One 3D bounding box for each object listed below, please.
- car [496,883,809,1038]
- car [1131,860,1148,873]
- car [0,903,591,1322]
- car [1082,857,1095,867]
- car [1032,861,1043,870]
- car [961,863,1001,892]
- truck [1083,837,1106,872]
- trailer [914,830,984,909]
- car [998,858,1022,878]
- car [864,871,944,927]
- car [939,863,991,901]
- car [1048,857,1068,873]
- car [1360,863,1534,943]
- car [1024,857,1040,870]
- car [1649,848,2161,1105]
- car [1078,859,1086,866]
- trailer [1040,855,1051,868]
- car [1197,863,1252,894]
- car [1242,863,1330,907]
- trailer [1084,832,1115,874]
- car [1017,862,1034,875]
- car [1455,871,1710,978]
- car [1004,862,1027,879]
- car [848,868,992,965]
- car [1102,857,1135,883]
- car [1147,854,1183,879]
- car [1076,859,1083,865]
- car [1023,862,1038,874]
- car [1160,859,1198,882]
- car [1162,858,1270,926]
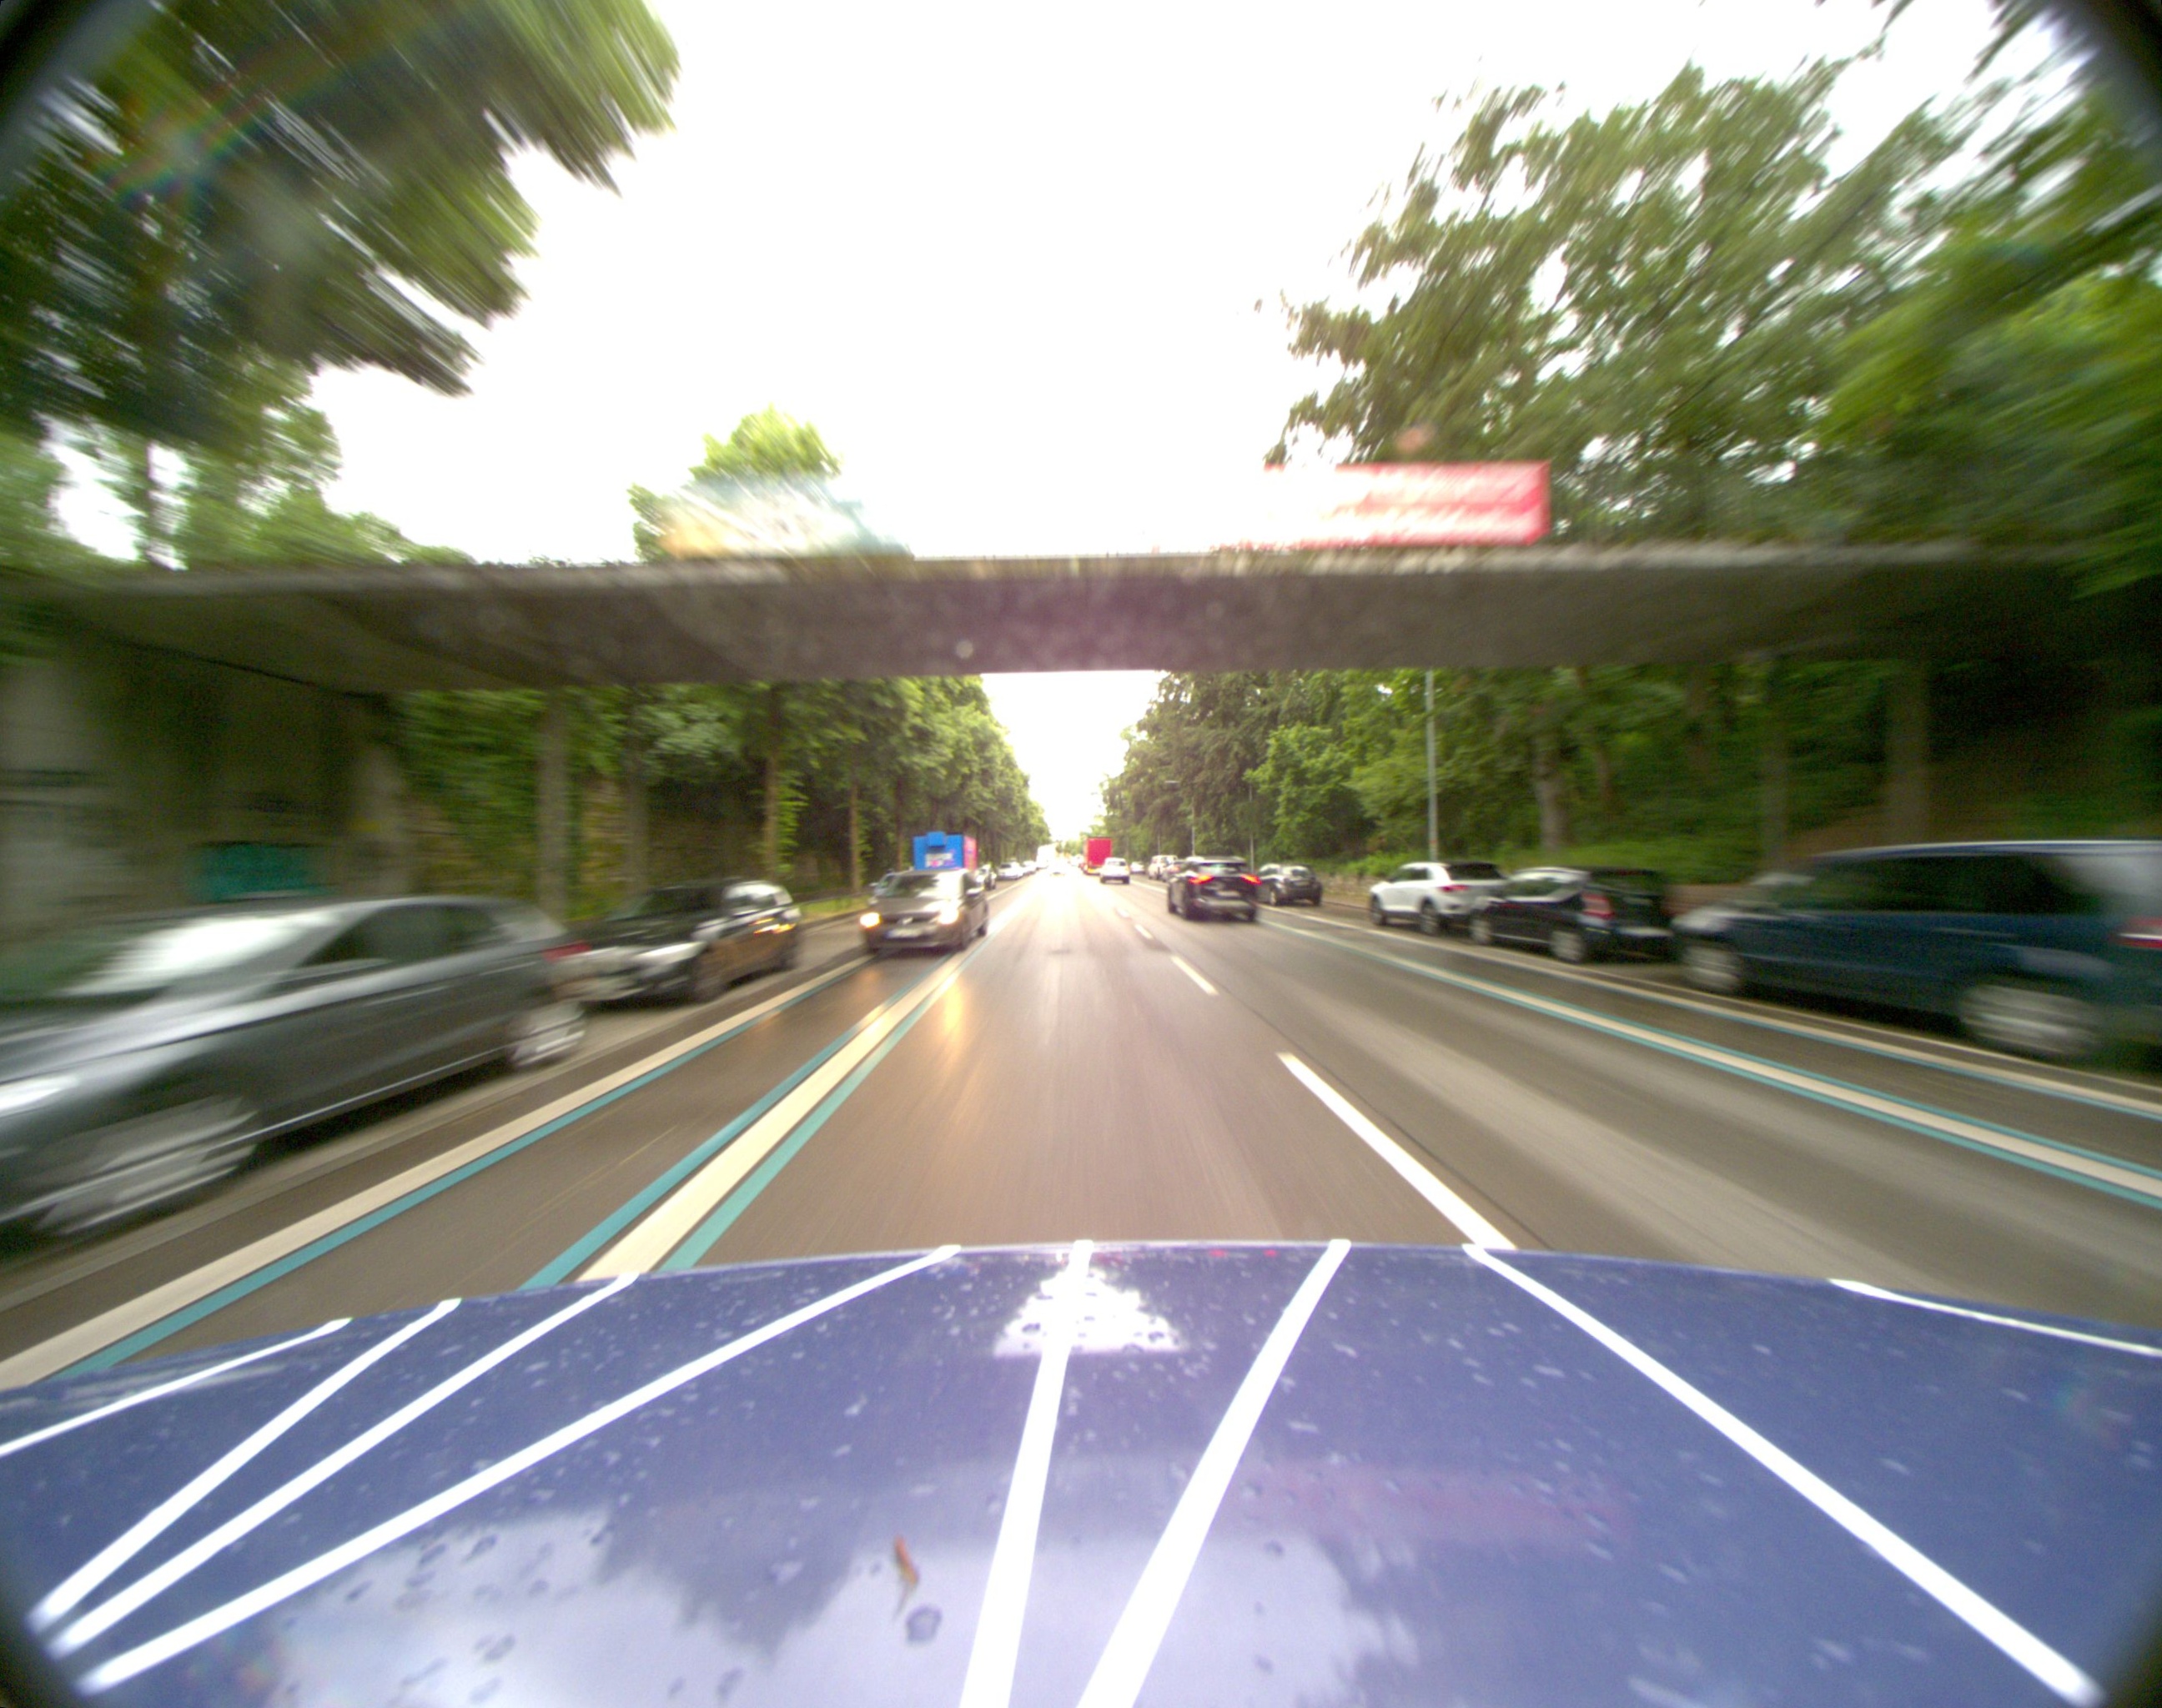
[{"bbox_3d":[-5.144,1.169,9.886,1.690,1.408,4.197,-1,0,-1],"label":"car"},{"bbox_3d":[6.787,1.474,88.693,1.694,1.397,4.028,-2,-1,0],"label":"car"},{"bbox_3d":[-5.055,1.138,4.429,1.690,1.408,4.100,-2,0,0],"label":"car"},{"bbox_3d":[1.157,1.237,120.635,1.920,1.448,4.620,1,0,-1],"label":"car"},{"bbox_3d":[-7.021,1.836,122.495,1.700,1.468,3.997,-1,0,-3],"label":"car"},{"bbox_3d":[-5.722,1.311,44.009,1.830,1.494,4.570,-1,0,-2],"label":"car"},{"bbox_3d":[1.618,0.064,92.869,2.524,4.023,4.916,1,0,-1],"label":"truck"},{"bbox_3d":[-4.885,0.549,28.687,1.957,2.742,4.006,-1,0,-1],"label":"trailer"},{"bbox_3d":[-6.173,1.180,66.586,1.758,1.587,4.739,-2,0,-2],"label":"car"},{"bbox_3d":[-5.054,1.244,22.155,1.589,1.345,3.861,-2,0,-4],"label":"car"},{"bbox_3d":[-5.192,1.214,34.642,1.905,1.538,4.754,-1,0,-4],"label":"car"},{"bbox_3d":[-2.353,1.151,79.586,1.999,1.588,4.000,-2,0,-1],"label":"car"},{"bbox_3d":[7.865,0.980,16.841,1.692,1.537,4.232,-1,-1,-2],"label":"car"},{"bbox_3d":[-6.637,1.321,102.935,1.999,1.652,4.562,-1,0,-2],"label":"car"},{"bbox_3d":[8.214,0.843,7.150,1.996,1.731,4.838,-1,-1,-2],"label":"car"},{"bbox_3d":[0.222,1.868,171.805,1.780,1.457,4.062,1,0,-1],"label":"car"},{"bbox_3d":[-7.092,1.471,151.492,1.988,2.550,3.999,-2,0,-4],"label":"trailer"},{"bbox_3d":[7.125,1.188,38.066,1.794,1.473,3.982,0,-1,-3],"label":"car"},{"bbox_3d":[7.314,1.072,27.479,1.836,1.468,4.039,-1,-1,-4],"label":"car"},{"bbox_3d":[1.885,-0.048,84.948,2.695,4.234,12.767,2,0,-2],"label":"trailer"},{"bbox_3d":[-6.235,1.622,85.921,1.702,1.445,4.097,-2,0,-3],"label":"car"},{"bbox_3d":[7.935,1.024,12.509,1.614,1.430,3.843,-1,-1,-1],"label":"car"},{"bbox_3d":[-6.236,1.558,72.879,1.702,1.504,4.469,-2,0,0],"label":"car"},{"bbox_3d":[-2.863,1.058,14.427,1.823,1.499,4.139,-1,0,0],"label":"car"},{"bbox_3d":[2.490,1.058,51.057,1.839,1.656,4.180,1,0,-2],"label":"car"},{"bbox_3d":[6.976,1.048,63.825,1.979,1.993,5.016,-2,-1,-5],"label":"car"},{"bbox_3d":[-0.346,2.314,220.929,1.959,1.629,4.444,1,0,-1],"label":"car"},{"bbox_3d":[-6.390,1.731,96.346,1.702,1.445,3.946,-2,0,-2],"label":"car"},{"bbox_3d":[7.006,1.171,54.770,2.015,1.596,4.779,-1,-1,-2],"label":"car"},{"bbox_3d":[3.479,0.931,20.402,1.971,1.618,4.320,0,0,-2],"label":"car"}]
